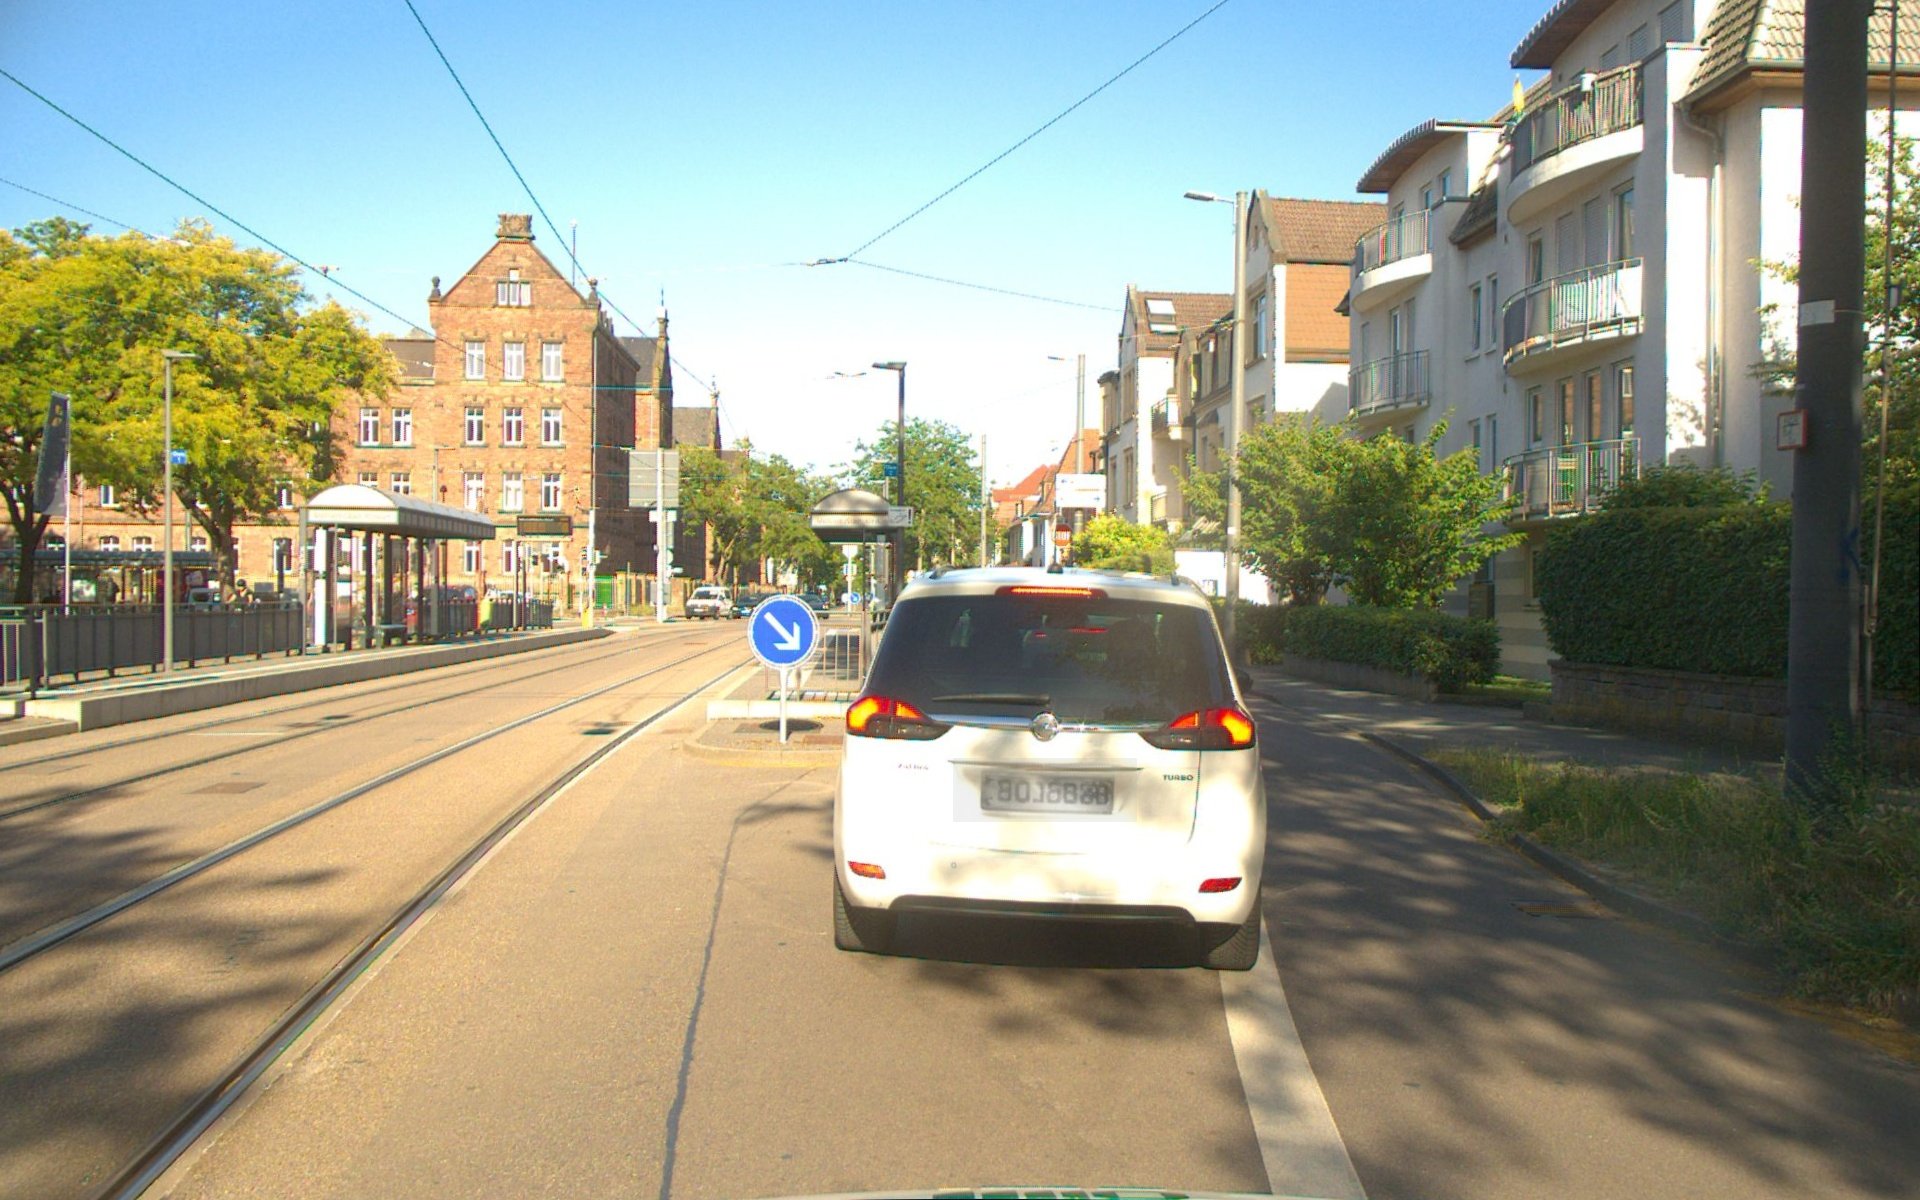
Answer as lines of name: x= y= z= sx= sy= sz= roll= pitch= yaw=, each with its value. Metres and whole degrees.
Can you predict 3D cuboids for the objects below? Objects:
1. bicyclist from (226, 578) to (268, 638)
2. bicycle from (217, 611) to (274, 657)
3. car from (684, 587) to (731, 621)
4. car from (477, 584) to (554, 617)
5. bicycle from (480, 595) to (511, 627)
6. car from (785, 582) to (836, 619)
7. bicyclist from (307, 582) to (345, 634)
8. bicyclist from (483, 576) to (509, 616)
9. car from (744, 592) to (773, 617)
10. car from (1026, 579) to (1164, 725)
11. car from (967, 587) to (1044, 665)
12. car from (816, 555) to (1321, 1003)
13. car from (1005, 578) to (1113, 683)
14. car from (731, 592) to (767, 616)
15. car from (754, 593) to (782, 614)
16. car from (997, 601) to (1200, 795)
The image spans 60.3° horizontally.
bicyclist: x=-17.883 y=0.192 z=41.478 sx=0.640 sy=1.485 sz=1.151 roll=0 pitch=0 yaw=-6
bicycle: x=-17.885 y=0.841 z=41.456 sx=0.671 sy=1.108 sz=2.062 roll=0 pitch=0 yaw=-5
car: x=-13.852 y=0.196 z=90.851 sx=1.789 sy=1.819 sz=4.256 roll=0 pitch=0 yaw=1
car: x=-24.717 y=0.029 z=92.047 sx=3.910 sy=1.841 sz=1.702 roll=0 pitch=0 yaw=-6
bicycle: x=-18.646 y=0.430 z=66.439 sx=0.761 sy=1.252 sz=2.087 roll=0 pitch=0 yaw=-4
car: x=-8.448 y=0.004 z=93.207 sx=1.964 sy=2.049 sz=3.976 roll=0 pitch=0 yaw=-20
bicyclist: x=-18.319 y=0.227 z=47.801 sx=0.639 sy=1.485 sz=1.152 roll=0 pitch=0 yaw=1
bicyclist: x=-18.650 y=-0.153 z=66.503 sx=0.745 sy=1.563 sz=1.347 roll=0 pitch=0 yaw=-4
car: x=-13.922 y=0.343 z=114.412 sx=1.791 sy=1.645 sz=4.322 roll=1 pitch=-1 yaw=-5
car: x=1.719 y=0.591 z=21.051 sx=1.536 sy=1.643 sz=3.786 roll=2 pitch=0 yaw=5
car: x=1.022 y=0.580 z=38.731 sx=1.563 sy=1.663 sz=3.900 roll=2 pitch=0 yaw=-1
car: x=0.553 y=0.641 z=8.089 sx=1.838 sy=1.613 sz=4.002 roll=1 pitch=0 yaw=5
car: x=1.689 y=0.491 z=29.214 sx=1.563 sy=1.663 sz=3.900 roll=2 pitch=0 yaw=-1
car: x=-13.170 y=0.240 z=103.483 sx=1.762 sy=1.406 sz=4.494 roll=0 pitch=1 yaw=-2
car: x=-14.189 y=0.286 z=122.304 sx=1.791 sy=1.471 sz=4.323 roll=1 pitch=-1 yaw=-4
car: x=1.230 y=0.765 z=14.792 sx=1.536 sy=1.426 sz=3.786 roll=2 pitch=0 yaw=5
